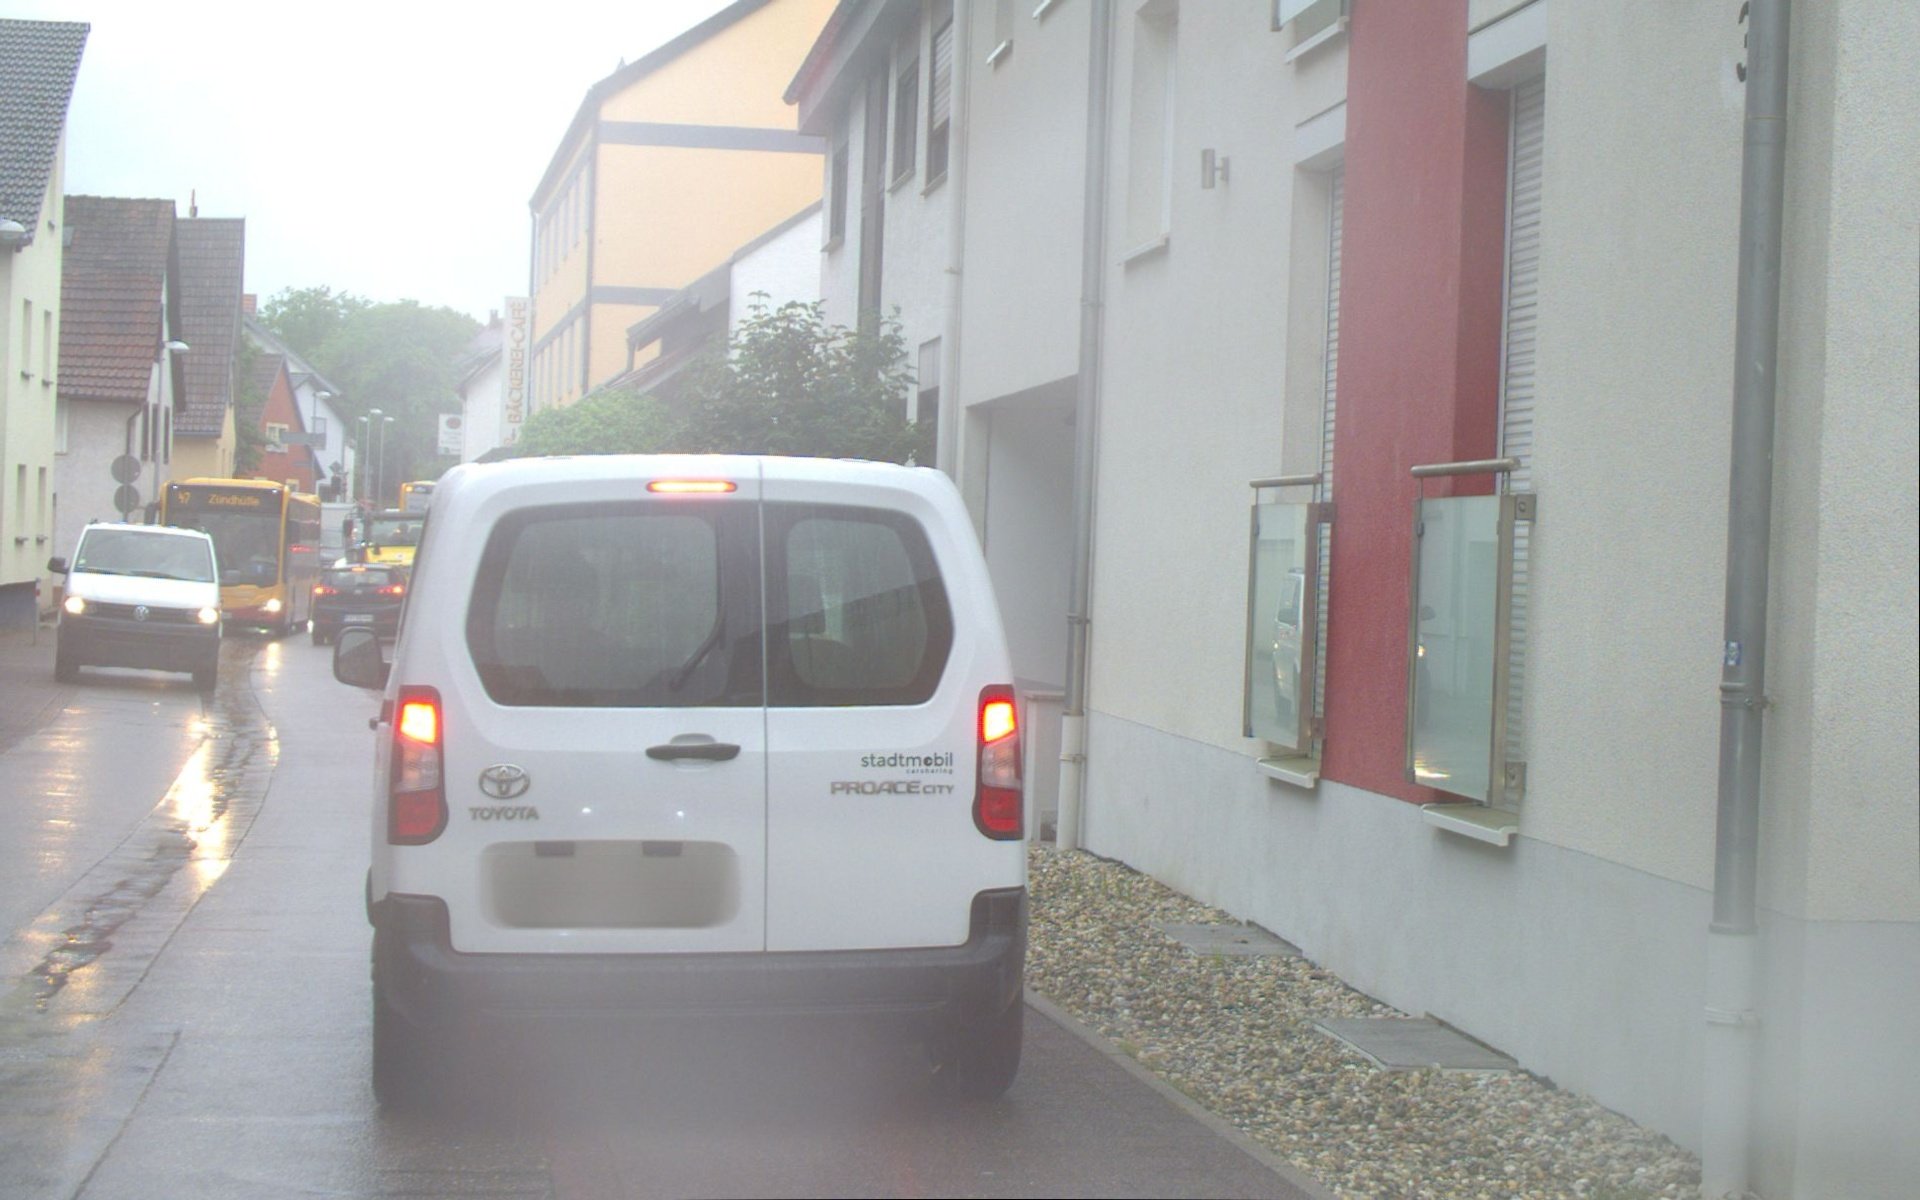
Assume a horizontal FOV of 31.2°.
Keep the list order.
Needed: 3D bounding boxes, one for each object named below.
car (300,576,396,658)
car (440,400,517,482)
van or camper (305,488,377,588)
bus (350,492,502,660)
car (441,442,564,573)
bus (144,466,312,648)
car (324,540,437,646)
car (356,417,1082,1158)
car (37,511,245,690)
[{"bbox_3d":[-11.150,0.303,62.771,1.561,1.367,3.586,3,0,-9],"label":"car"},{"bbox_3d":[-13.590,-4.460,96.930,1.993,2.007,4.001,3,0,-8],"label":"car"},{"bbox_3d":[-19.226,-1.889,106.972,1.835,2.916,5.364,3,0,-8],"label":"van or camper"},{"bbox_3d":[-11.347,-0.488,72.815,2.792,3.169,8.180,4,-1,-9],"label":"bus"},{"bbox_3d":[-7.785,-1.530,58.241,1.826,2.007,3.695,3,0,-10],"label":"car"},{"bbox_3d":[-14.862,-0.822,70.296,2.792,3.318,8.180,4,-1,-9],"label":"bus"},{"bbox_3d":[-8.816,-0.099,52.394,1.561,1.475,3.586,3,0,-9],"label":"car"},{"bbox_3d":[-0.910,0.459,10.580,1.794,1.812,4.102,0,0,-9],"label":"car"},{"bbox_3d":[-9.869,0.009,41.734,1.892,1.960,4.724,3,0,-8],"label":"car"}]
